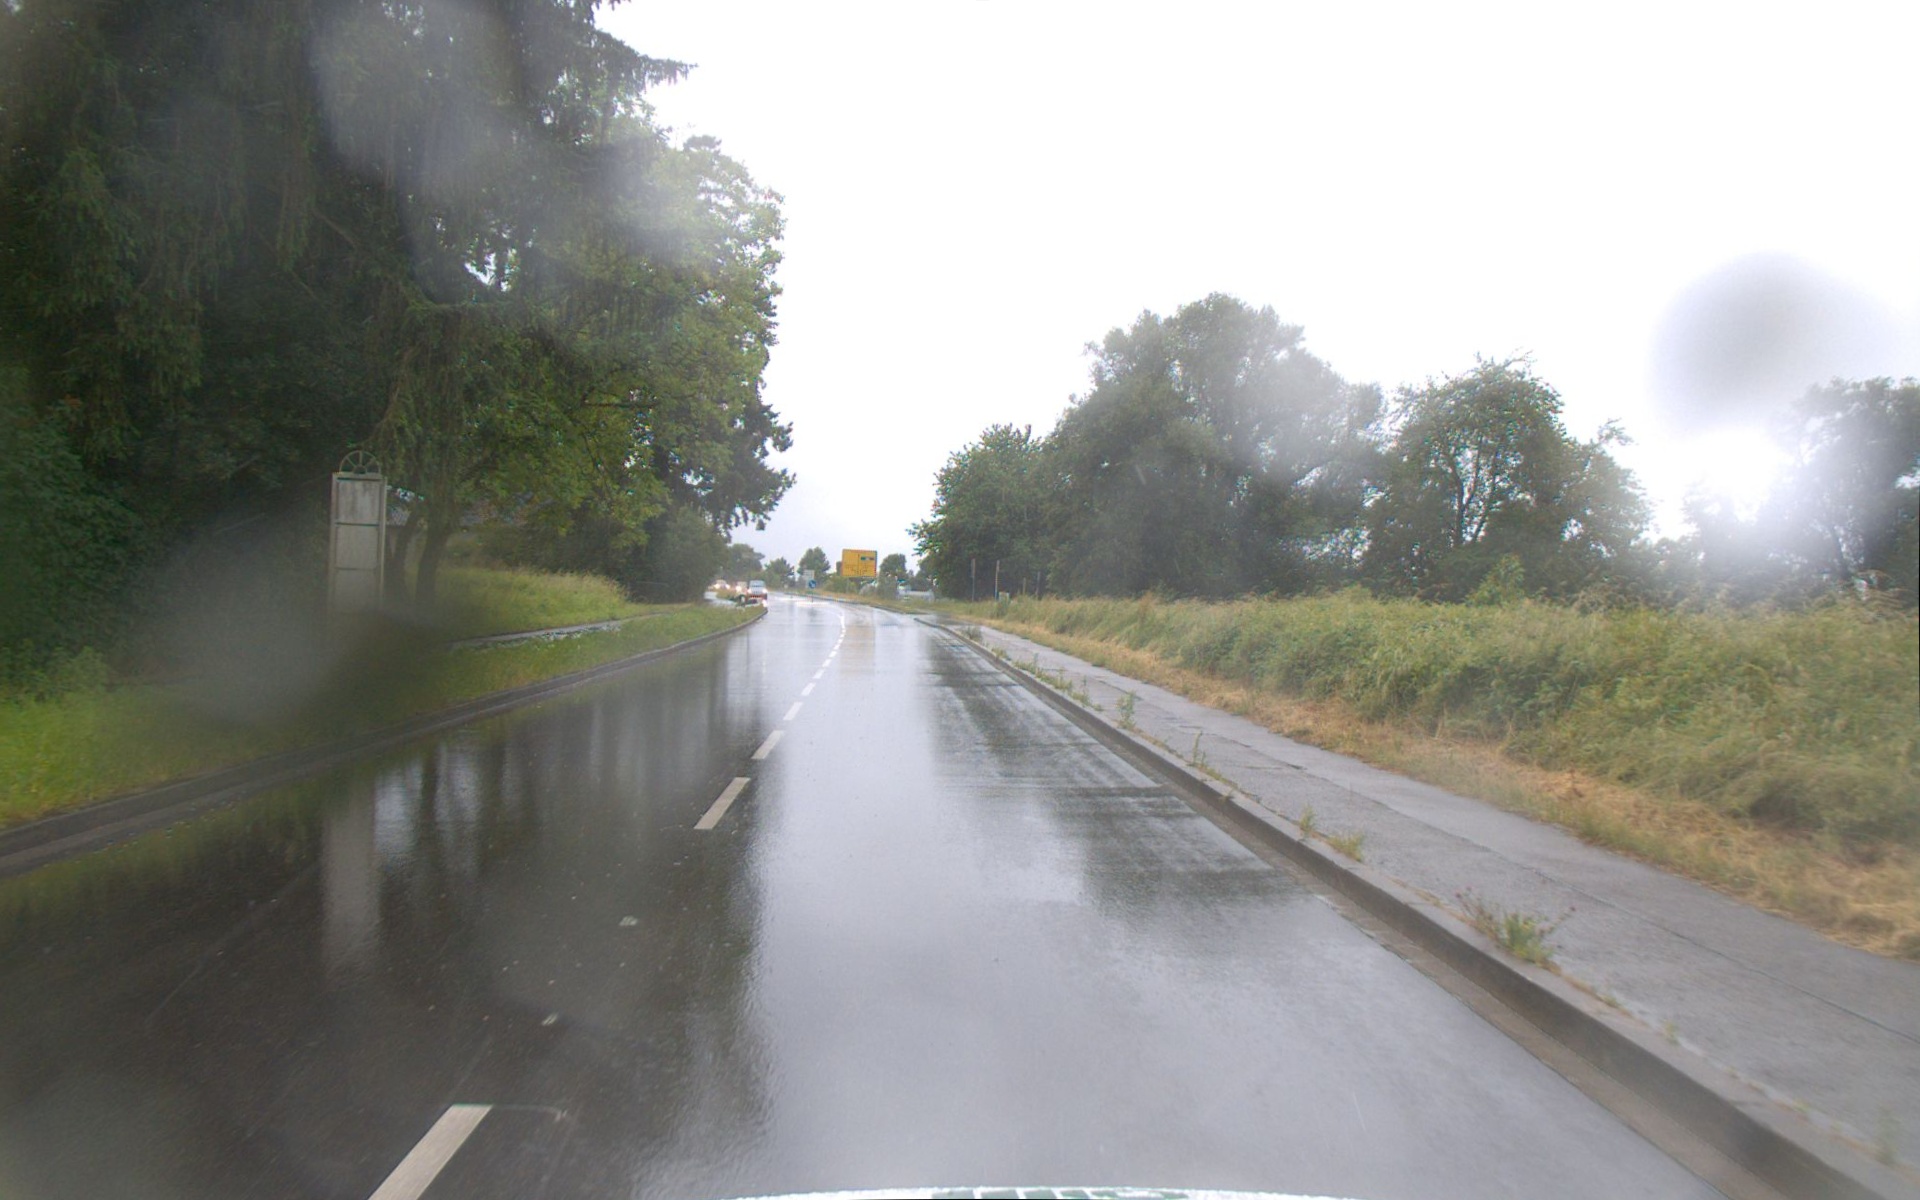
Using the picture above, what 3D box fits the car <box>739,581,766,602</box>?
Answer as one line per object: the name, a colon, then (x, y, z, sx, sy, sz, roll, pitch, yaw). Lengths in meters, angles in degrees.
car: (-17.858, -0.731, 142.328, 1.731, 1.579, 3.986, 1, 3, -15)
